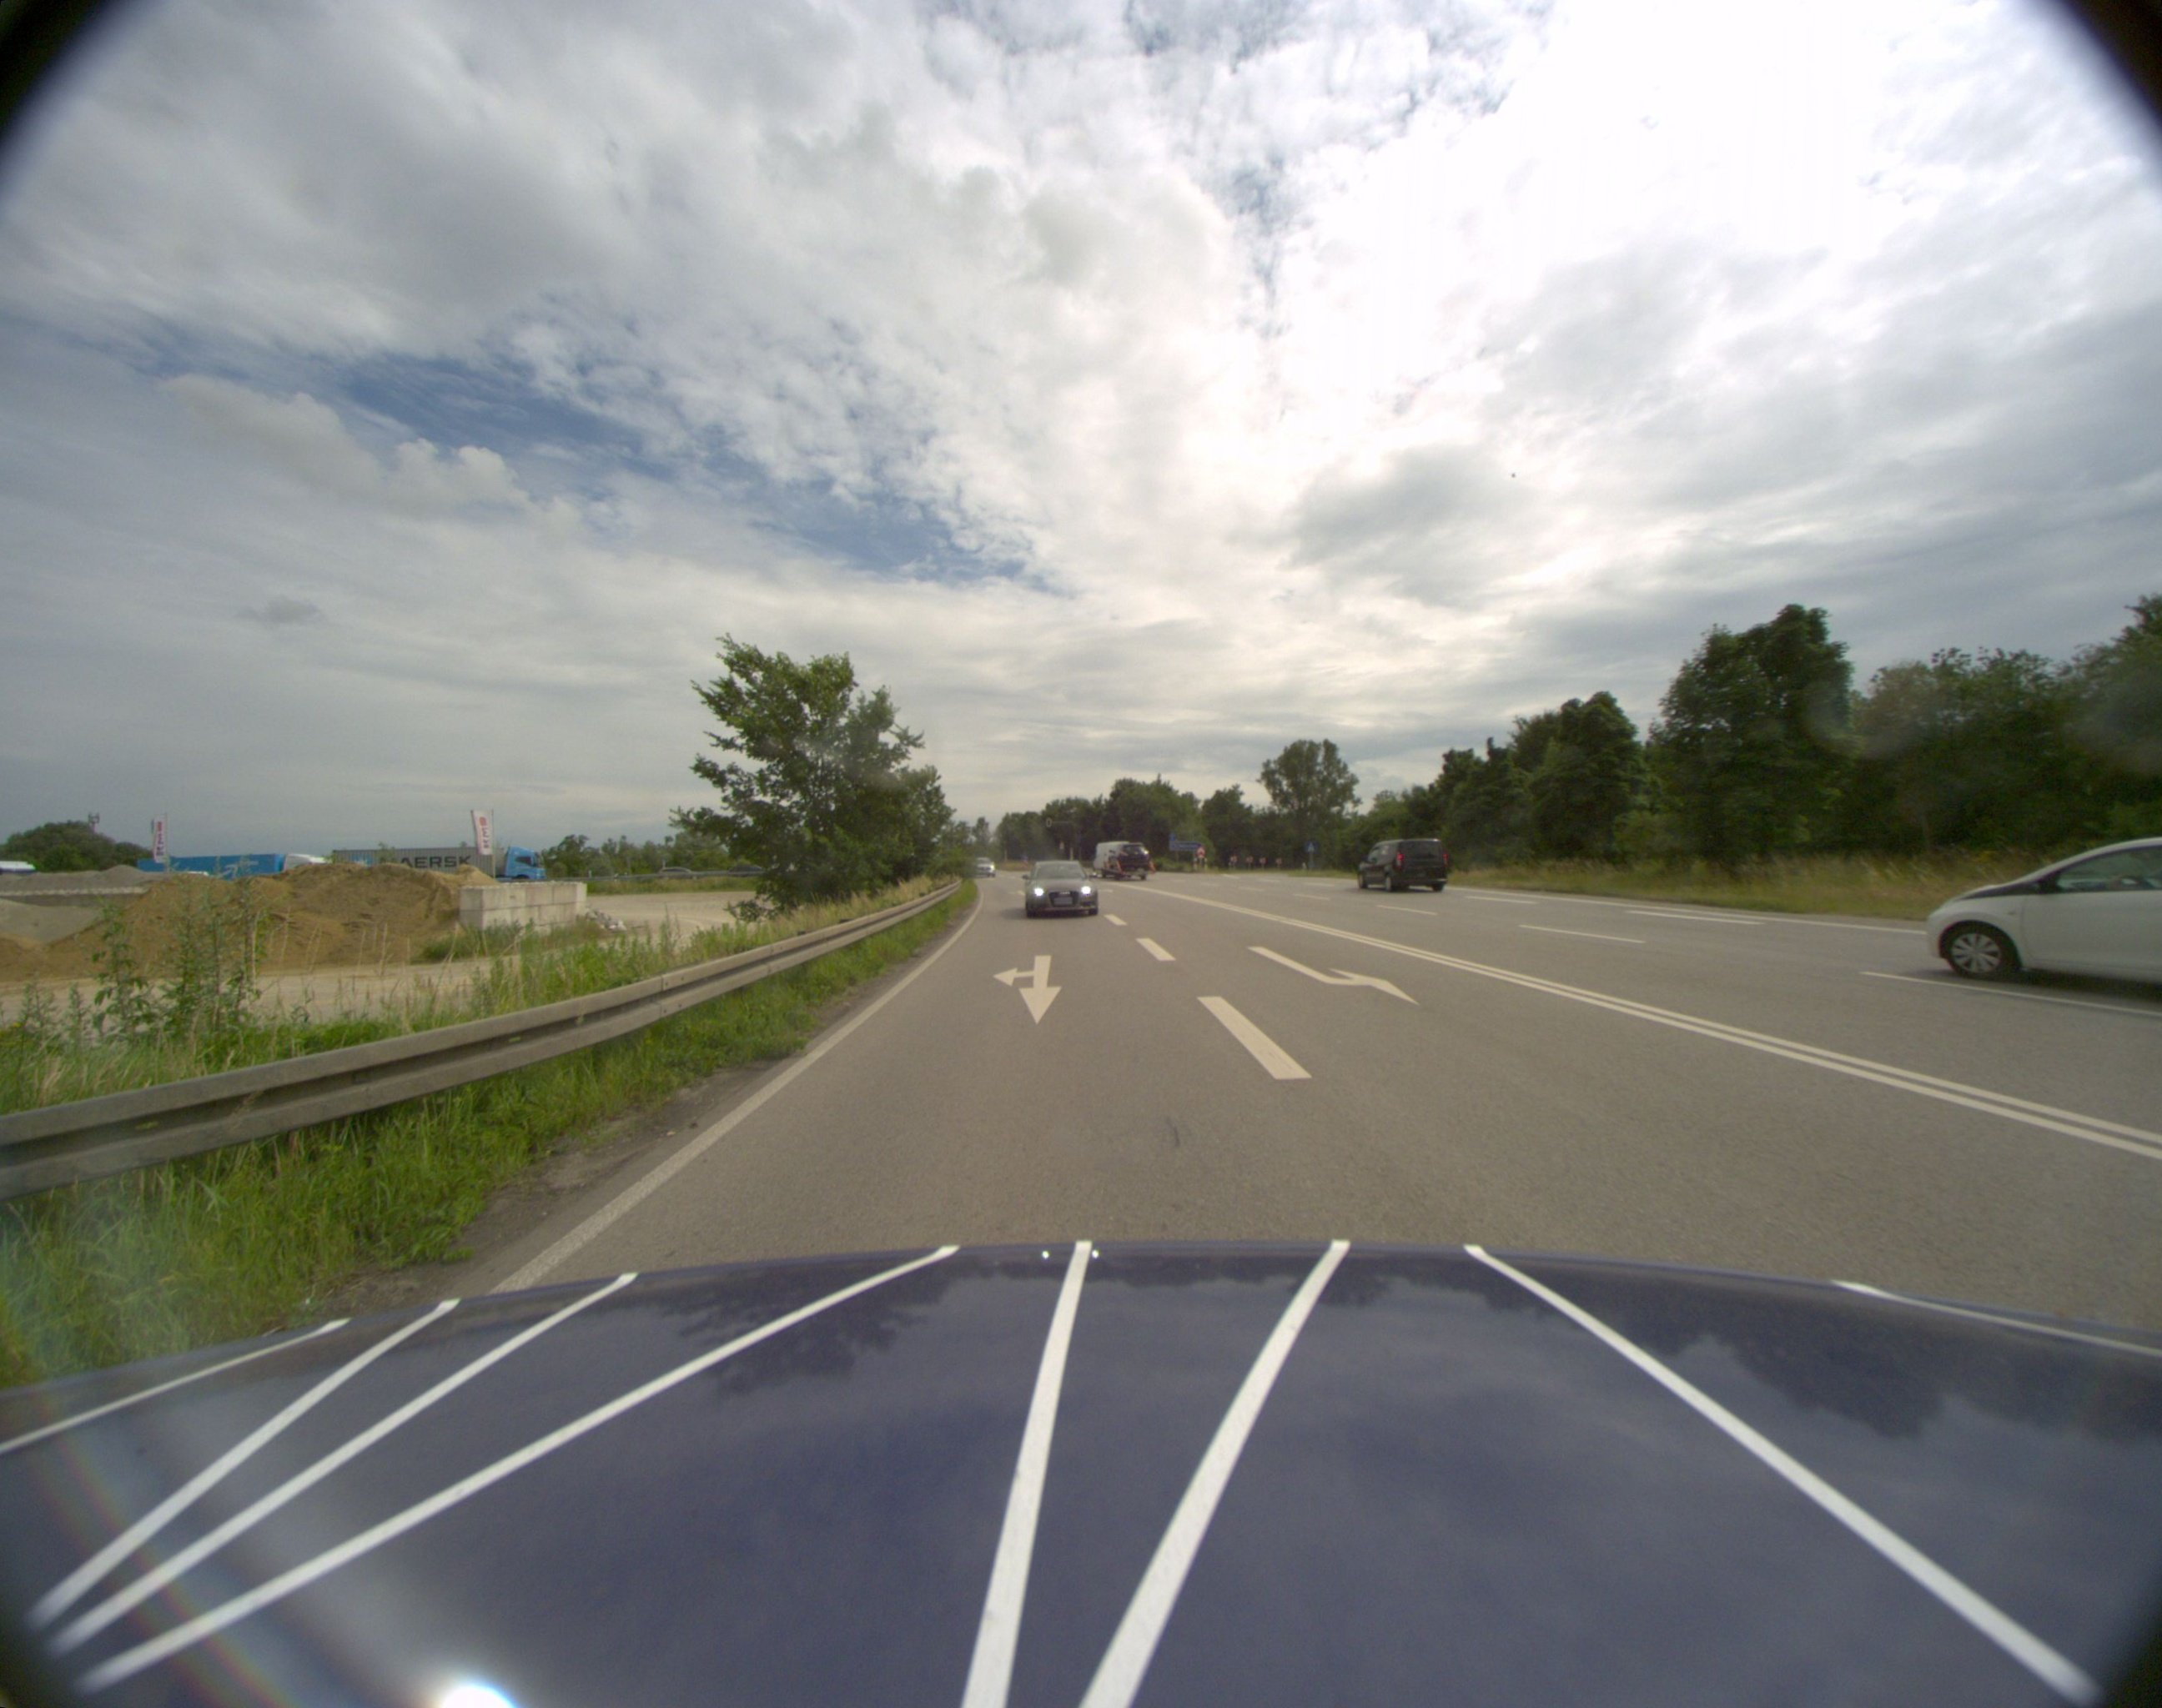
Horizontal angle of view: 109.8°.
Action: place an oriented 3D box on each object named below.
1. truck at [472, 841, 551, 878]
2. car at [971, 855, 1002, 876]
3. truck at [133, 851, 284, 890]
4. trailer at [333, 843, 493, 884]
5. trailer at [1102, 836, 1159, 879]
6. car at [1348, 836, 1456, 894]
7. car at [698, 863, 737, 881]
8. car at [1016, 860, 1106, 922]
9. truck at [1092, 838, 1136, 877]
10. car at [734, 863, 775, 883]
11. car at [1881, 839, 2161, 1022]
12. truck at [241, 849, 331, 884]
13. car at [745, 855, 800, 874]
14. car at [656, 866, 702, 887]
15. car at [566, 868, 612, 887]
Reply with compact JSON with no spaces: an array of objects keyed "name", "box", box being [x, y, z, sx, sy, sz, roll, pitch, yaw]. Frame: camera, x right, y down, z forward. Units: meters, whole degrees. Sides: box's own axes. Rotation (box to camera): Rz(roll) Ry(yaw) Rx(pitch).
[{"name":"truck","box":[-55.285,0.539,73.917,5.601,3.285,2.388,-3,0,-20]},{"name":"car","box":[-7.929,0.934,63.715,2.023,1.603,4.276,-2,0,-14]},{"name":"truck","box":[-82.984,1.564,72.333,11.749,3.036,2.392,-3,0,2]},{"name":"trailer","box":[-62.621,0.870,71.579,11.238,3.290,2.389,-3,0,-16]},{"name":"trailer","box":[2.952,0.215,47.069,2.030,2.430,6.960,-2,0,-9]},{"name":"car","box":[11.158,0.368,26.762,1.998,1.786,4.320,-2,0,1]},{"name":"car","box":[-43.823,2.122,91.585,4.003,2.002,1.928,-2,0,-20]},{"name":"car","box":[-0.666,0.945,21.056,1.959,1.527,3.997,-1,0,-9]},{"name":"truck","box":[2.207,0.235,52.058,2.030,2.430,5.020,-2,0,-8]},{"name":"car","box":[-35.377,2.053,82.383,4.004,2.001,1.928,-1,-1,-20]},{"name":"car","box":[9.847,0.617,6.551,1.881,1.480,3.743,-2,0,-1]},{"name":"truck","box":[-75.383,1.165,72.139,5.981,3.036,2.392,-3,0,2]},{"name":"car","box":[-36.479,1.278,89.913,5.902,2.002,2.058,-2,0,-20]},{"name":"car","box":[-42.221,2.347,79.879,4.004,2.001,1.928,-1,-1,-20]},{"name":"car","box":[-56.240,2.676,86.956,4.003,2.002,1.928,-2,0,-20]}]
